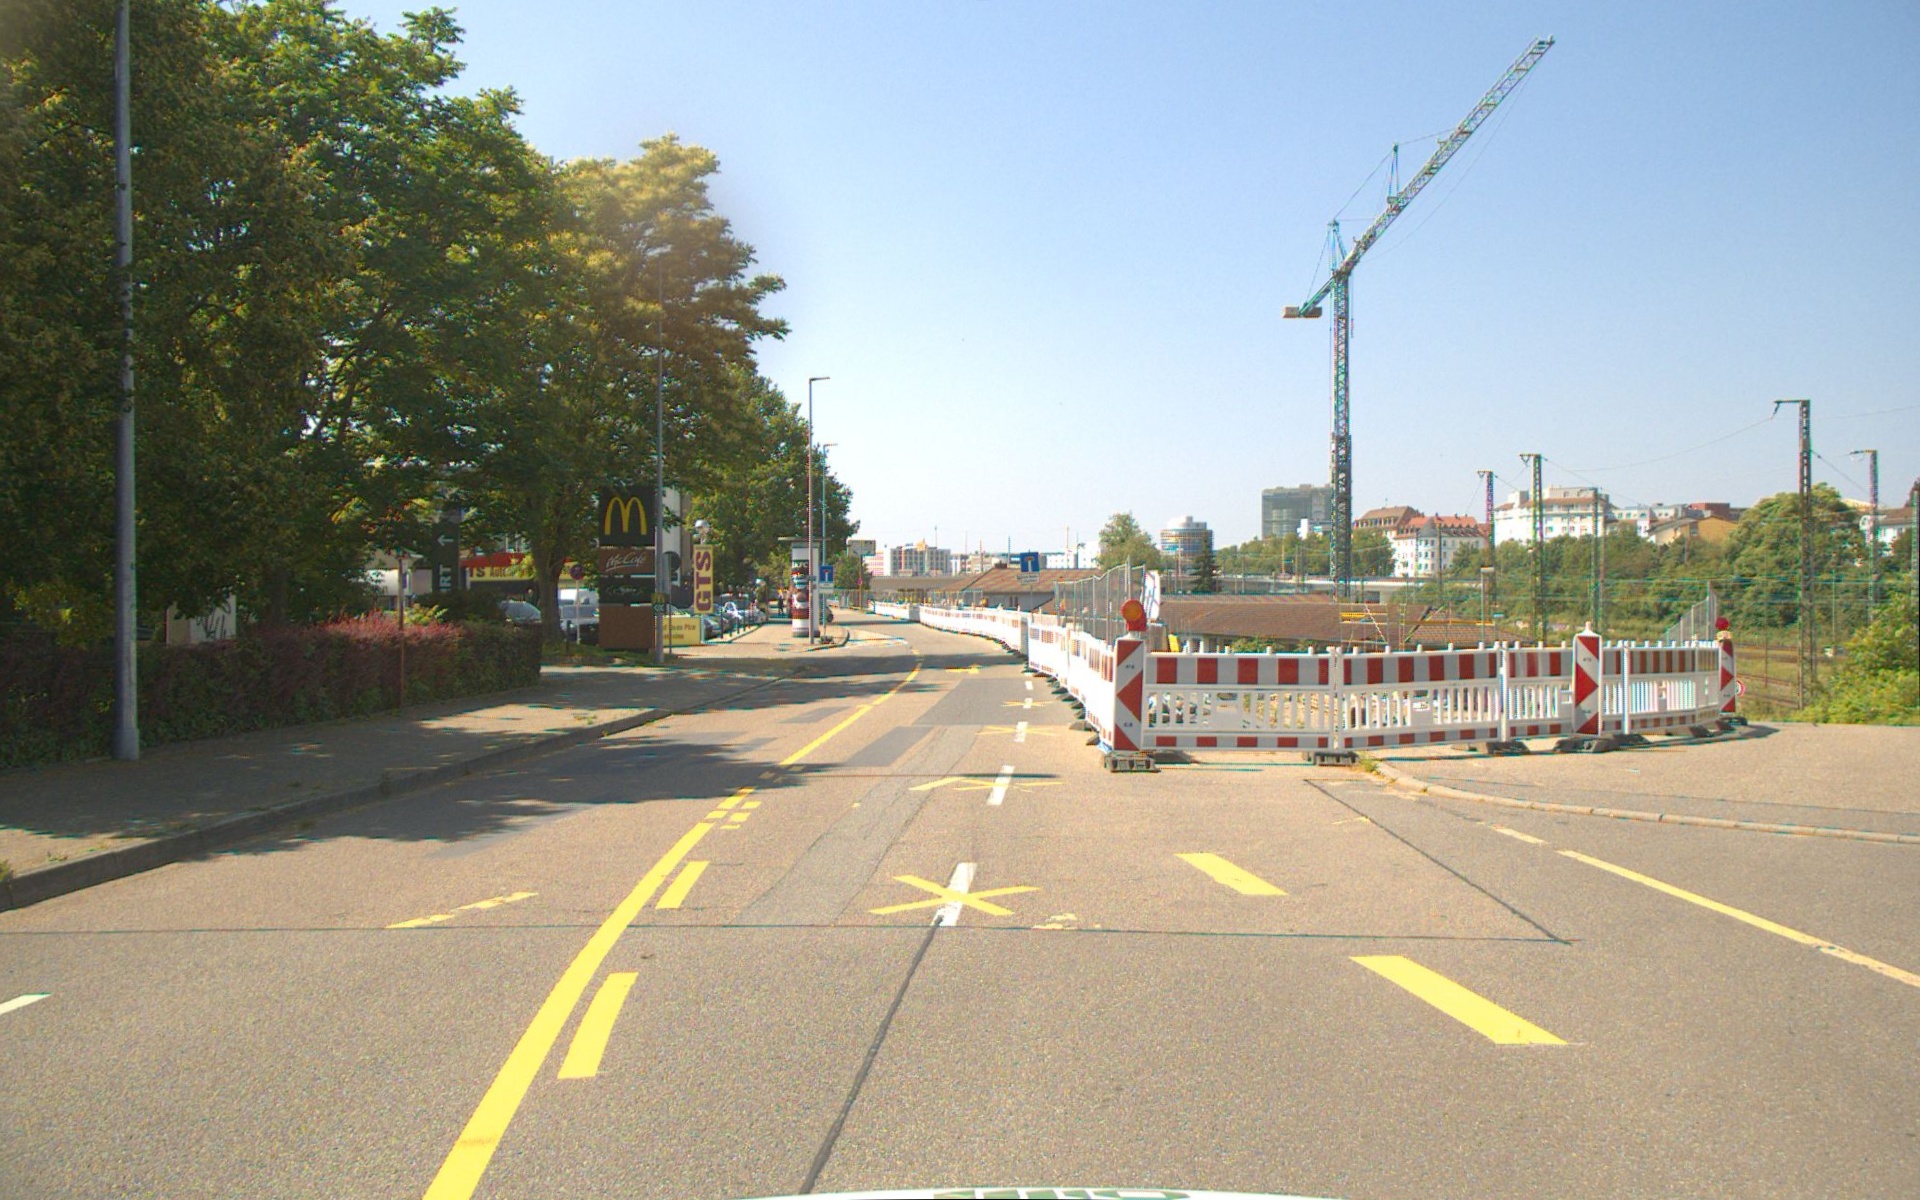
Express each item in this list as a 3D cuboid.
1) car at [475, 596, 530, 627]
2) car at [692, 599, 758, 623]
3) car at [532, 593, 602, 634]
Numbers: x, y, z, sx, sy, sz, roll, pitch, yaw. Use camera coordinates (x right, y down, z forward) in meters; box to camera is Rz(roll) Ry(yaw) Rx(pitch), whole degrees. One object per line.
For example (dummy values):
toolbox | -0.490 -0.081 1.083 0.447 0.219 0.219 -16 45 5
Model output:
car | -21.769 0.554 78.643 1.553 1.445 3.646 0 0 -33
car | -13.958 0.662 98.365 3.597 1.445 1.574 0 0 11
car | -19.094 0.627 80.278 1.977 1.937 3.950 0 0 -35
